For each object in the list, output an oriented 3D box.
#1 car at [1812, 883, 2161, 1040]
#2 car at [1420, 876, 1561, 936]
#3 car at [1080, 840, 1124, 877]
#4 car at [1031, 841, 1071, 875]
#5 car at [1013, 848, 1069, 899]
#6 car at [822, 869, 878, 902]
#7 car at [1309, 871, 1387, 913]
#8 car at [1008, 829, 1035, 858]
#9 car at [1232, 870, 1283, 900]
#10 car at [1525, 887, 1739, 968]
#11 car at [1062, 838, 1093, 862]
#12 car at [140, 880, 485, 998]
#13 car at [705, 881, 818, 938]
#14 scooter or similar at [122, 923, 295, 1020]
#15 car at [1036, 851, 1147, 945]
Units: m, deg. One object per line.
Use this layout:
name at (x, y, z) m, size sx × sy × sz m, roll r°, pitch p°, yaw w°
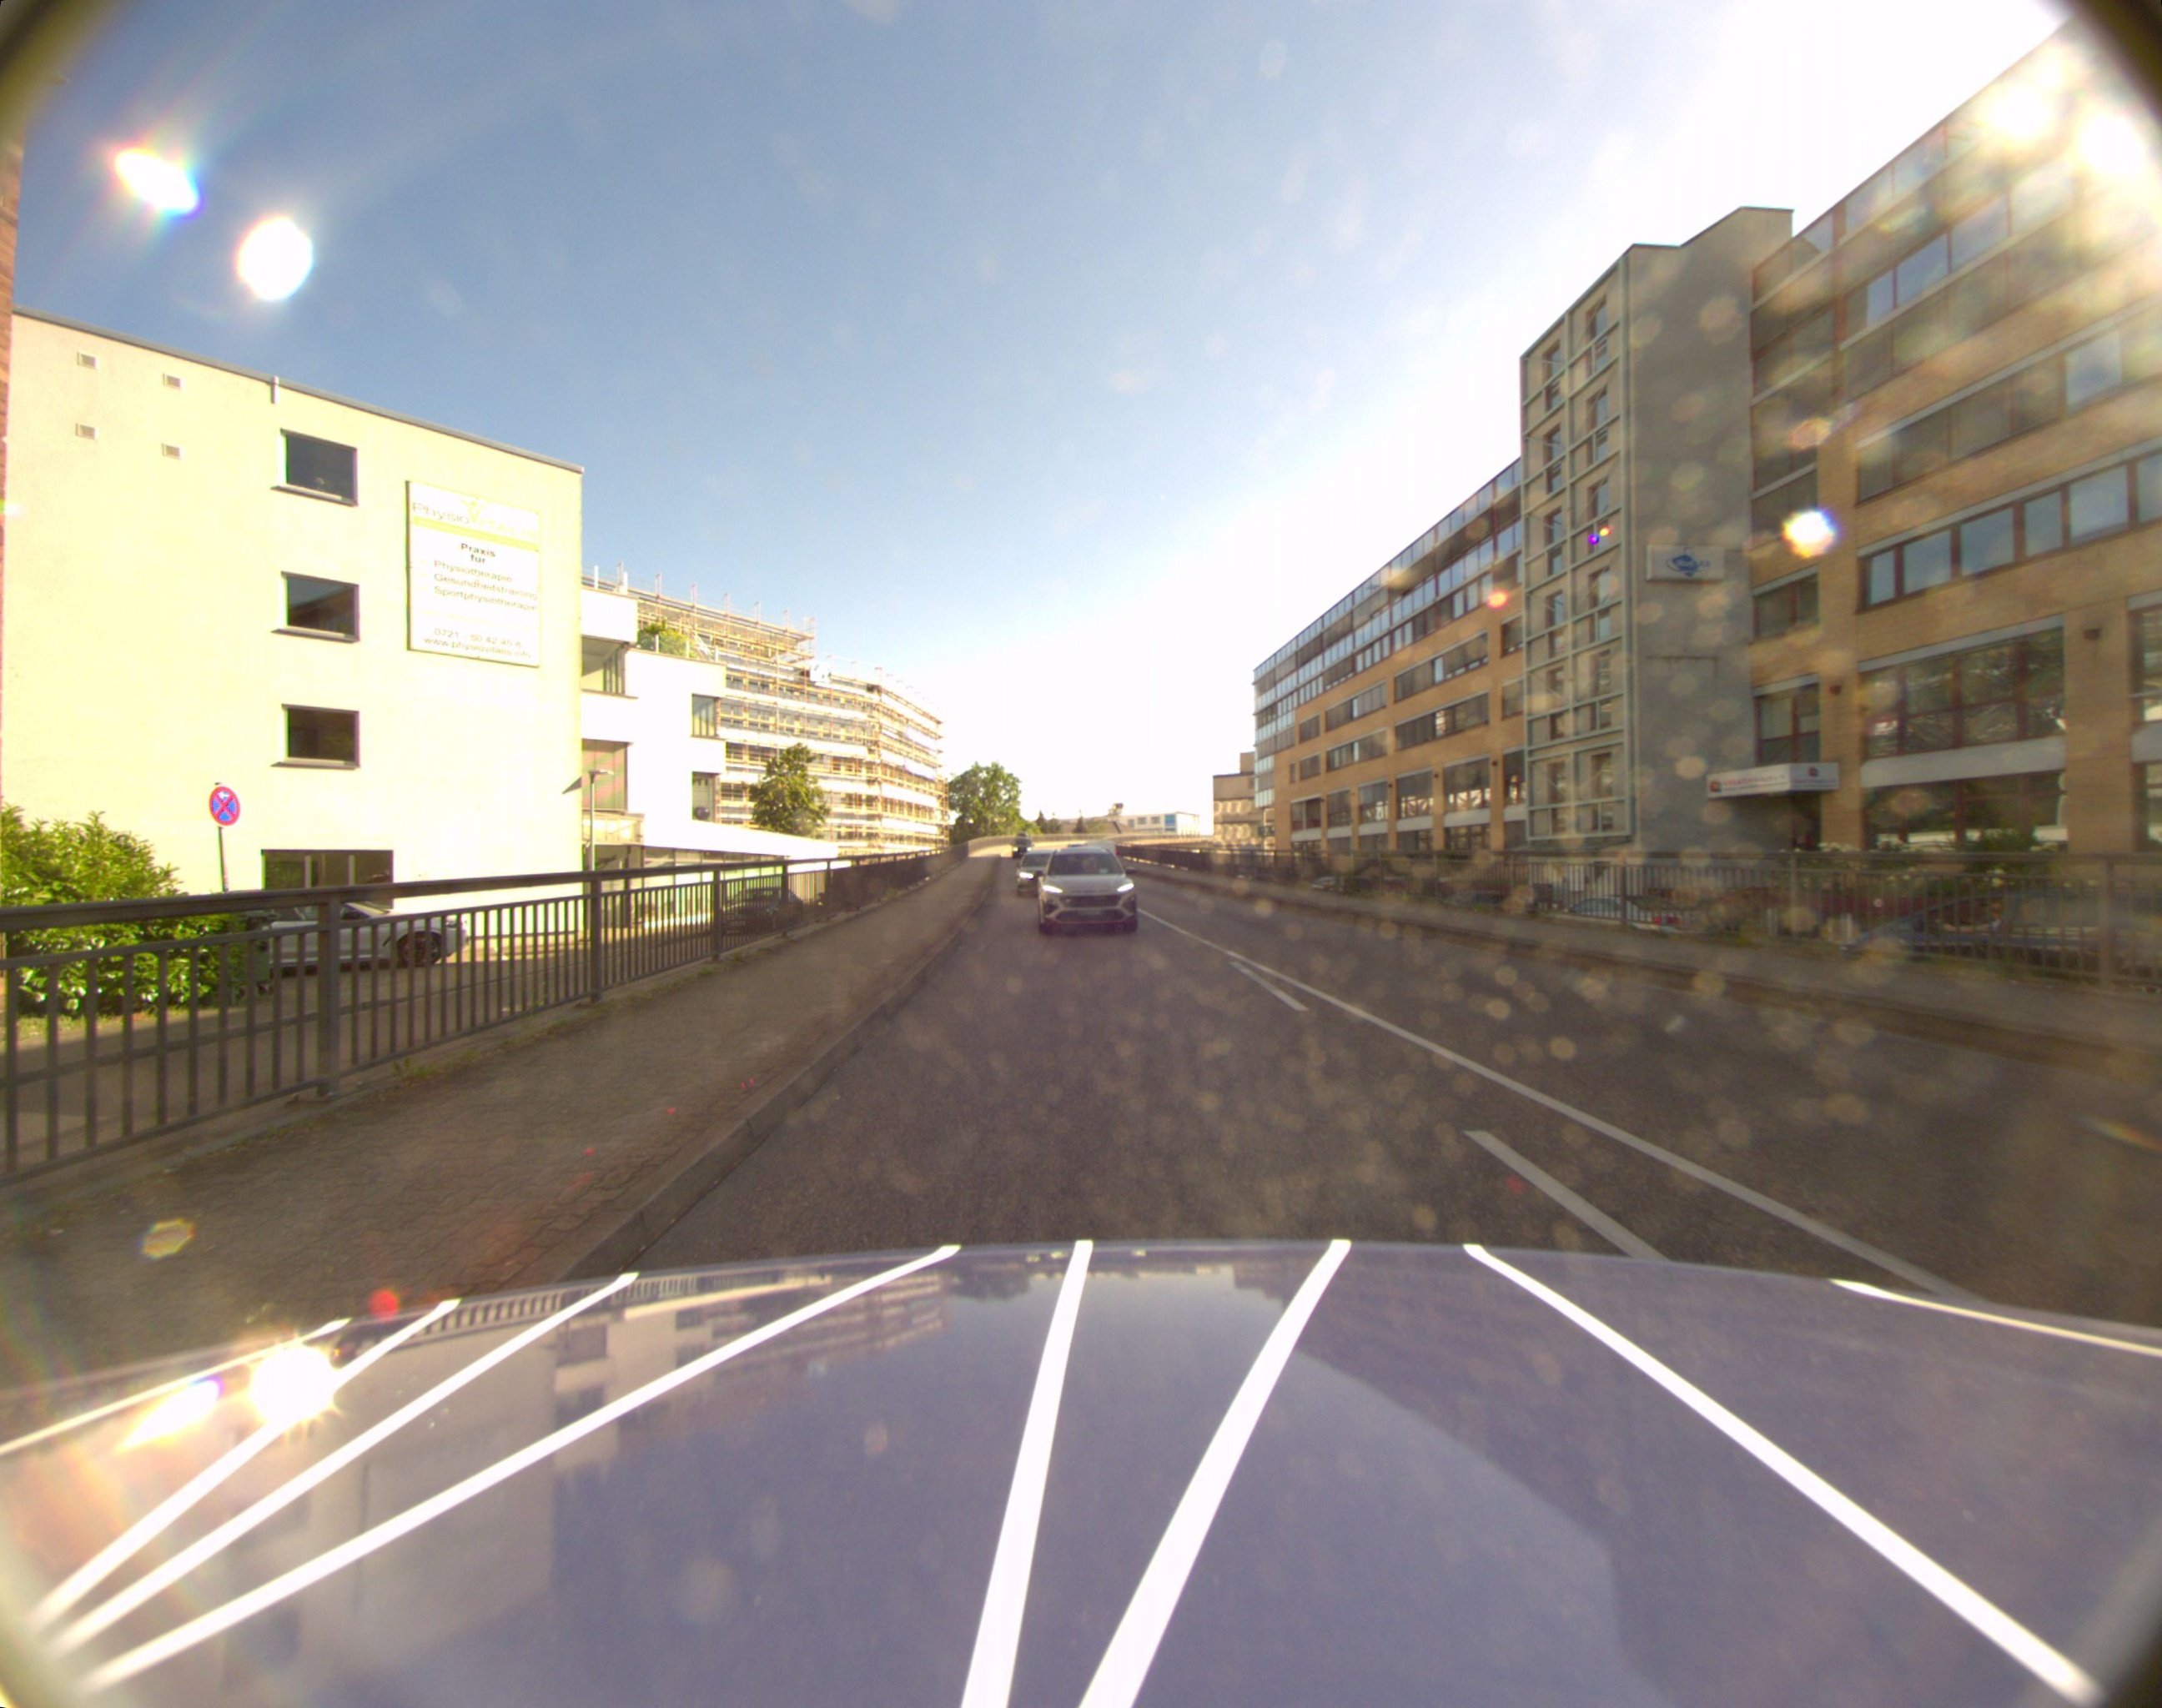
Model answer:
car at (13.876, 1.379, 10.900) m, size 1.957 × 1.747 × 4.685 m, roll -2°, pitch 0°, yaw -7°
car at (12.782, 1.562, 24.097) m, size 1.825 × 1.594 × 4.355 m, roll 0°, pitch 0°, yaw -6°
car at (1.038, 0.228, 39.892) m, size 1.815 × 1.791 × 5.119 m, roll 0°, pitch 0°, yaw -4°
car at (-1.511, 0.155, 38.139) m, size 1.849 × 1.527 × 4.506 m, roll -2°, pitch 1°, yaw -2°
car at (-1.349, 0.595, 25.891) m, size 1.721 × 1.483 × 4.167 m, roll -2°, pitch 1°, yaw -2°
car at (-11.847, 1.584, 39.236) m, size 1.849 × 1.526 × 3.999 m, roll 0°, pitch 0°, yaw -2°
car at (11.950, 1.657, 34.312) m, size 1.999 × 1.714 × 3.999 m, roll 0°, pitch 0°, yaw -2°
car at (-5.132, -0.962, 66.091) m, size 1.909 × 2.202 × 4.595 m, roll -1°, pitch 4°, yaw 0°
car at (10.689, 1.848, 46.237) m, size 1.999 × 1.652 × 3.999 m, roll 0°, pitch 0°, yaw -2°
car at (13.173, 1.675, 18.567) m, size 1.825 × 1.594 × 4.355 m, roll 0°, pitch 0°, yaw -6°
car at (-0.296, -0.272, 53.655) m, size 1.825 × 1.594 × 3.997 m, roll 0°, pitch 1°, yaw -5°
car at (-15.223, 1.563, 15.465) m, size 4.658 × 1.757 × 1.823 m, roll -3°, pitch 2°, yaw -43°
car at (-10.479, 1.771, 25.326) m, size 1.849 × 1.422 × 4.680 m, roll -2°, pitch 1°, yaw -1°
scooter or similar at (-12.849, 1.703, 11.242) m, size 1.462 × 1.212 × 0.785 m, roll -3°, pitch 0°, yaw -9°
car at (0.059, 0.735, 15.060) m, size 1.850 × 1.561 × 4.219 m, roll -1°, pitch 0°, yaw -4°
